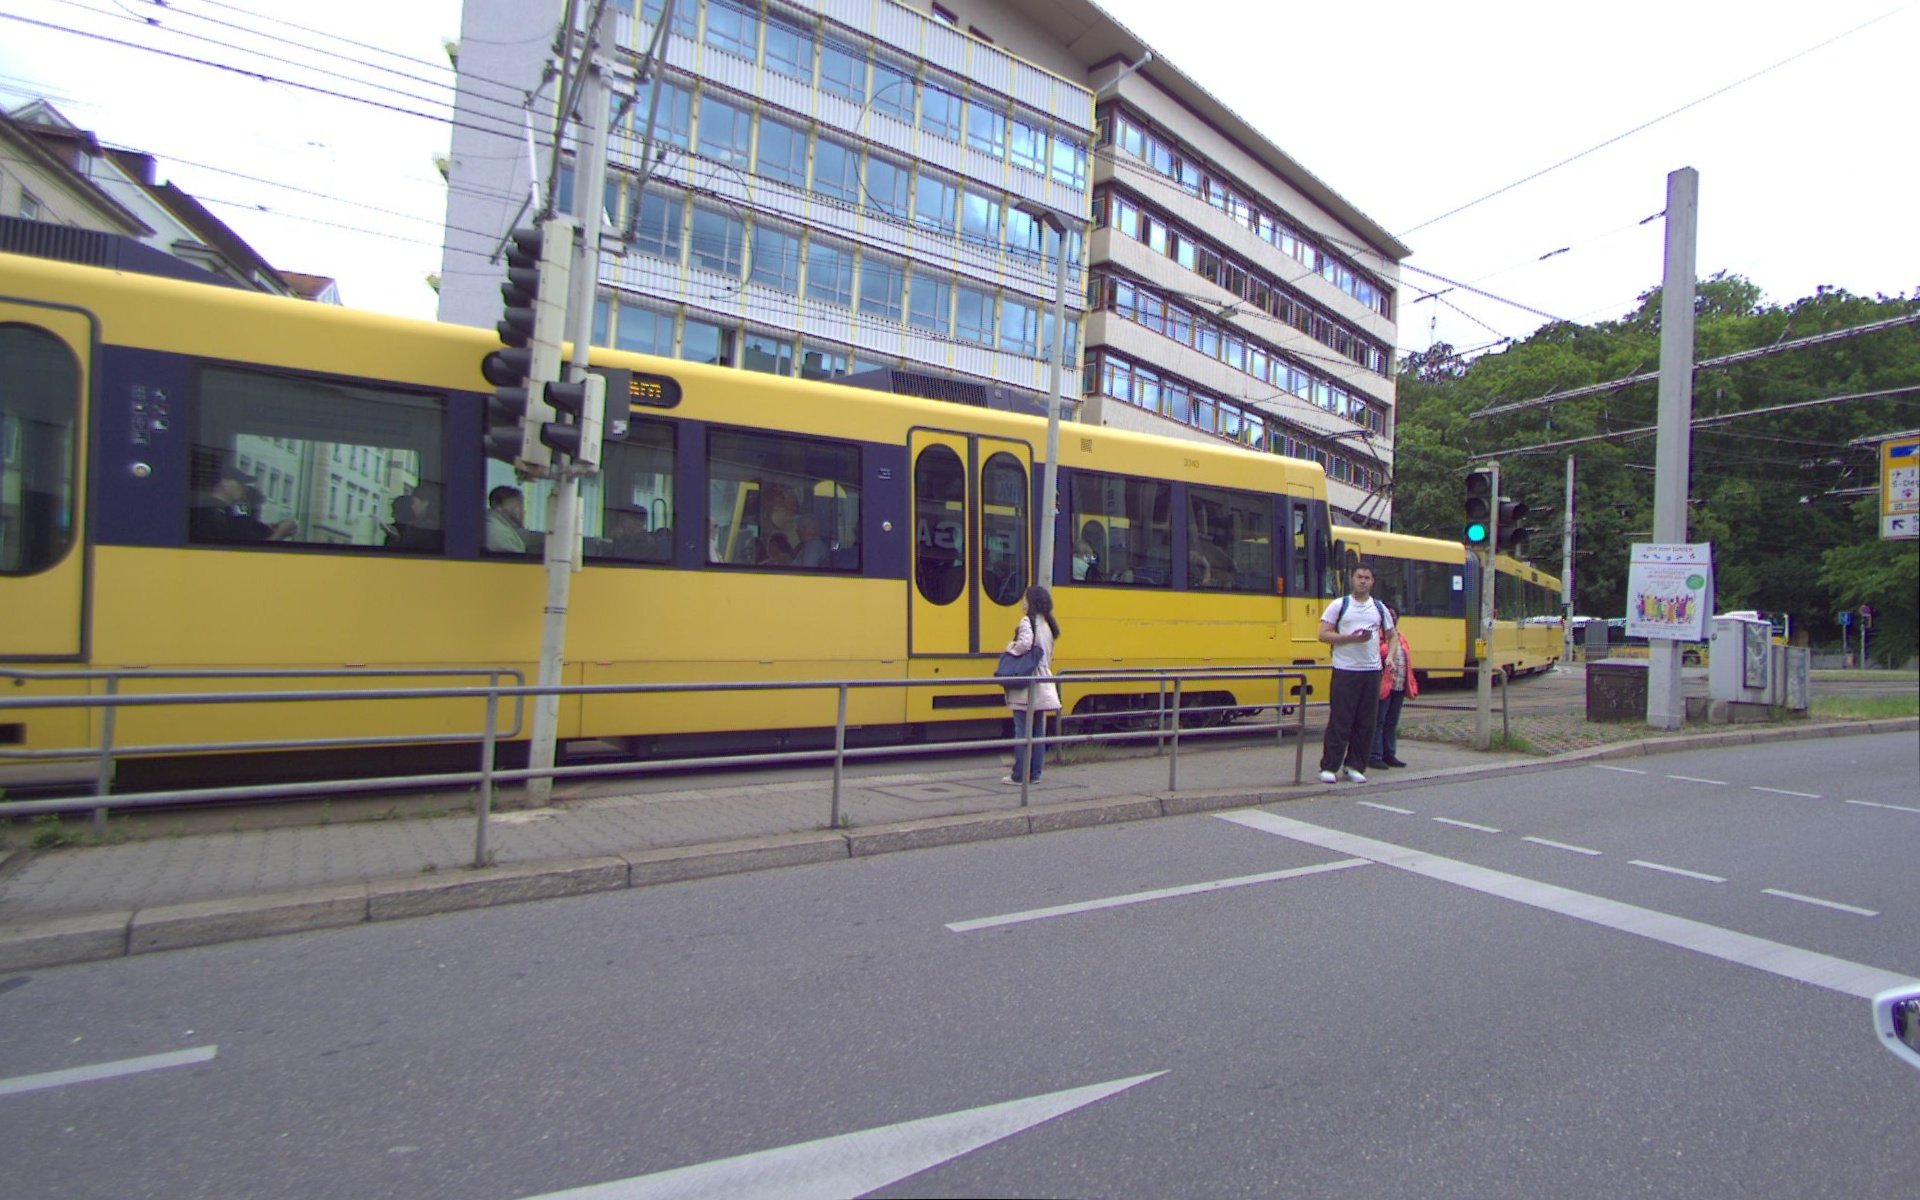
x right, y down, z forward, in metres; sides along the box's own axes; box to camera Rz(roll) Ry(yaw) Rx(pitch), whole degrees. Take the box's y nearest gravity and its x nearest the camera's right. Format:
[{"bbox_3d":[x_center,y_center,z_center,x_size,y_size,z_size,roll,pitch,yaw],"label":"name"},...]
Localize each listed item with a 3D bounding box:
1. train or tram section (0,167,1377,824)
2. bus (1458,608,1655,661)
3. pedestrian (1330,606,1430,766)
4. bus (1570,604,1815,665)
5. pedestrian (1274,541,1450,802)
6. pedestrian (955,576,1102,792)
[{"bbox_3d":[-1.463,-0.393,9.994,14.322,3.712,2.865,2,-2,-33],"label":"train or tram section"},{"bbox_3d":[38.046,2.254,64.800,3.276,3.083,11.306,1,-2,-22],"label":"bus"},{"bbox_3d":[4.094,0.835,9.808,0.664,1.482,0.577,4,-4,-12],"label":"pedestrian"},{"bbox_3d":[40.843,1.957,56.842,3.336,3.069,11.507,1,-2,-17],"label":"bus"},{"bbox_3d":[3.486,0.628,8.782,1.014,2.093,0.967,4,-4,-12],"label":"pedestrian"},{"bbox_3d":[0.558,0.661,8.199,0.990,1.646,0.672,2,-2,-33],"label":"pedestrian"}]
